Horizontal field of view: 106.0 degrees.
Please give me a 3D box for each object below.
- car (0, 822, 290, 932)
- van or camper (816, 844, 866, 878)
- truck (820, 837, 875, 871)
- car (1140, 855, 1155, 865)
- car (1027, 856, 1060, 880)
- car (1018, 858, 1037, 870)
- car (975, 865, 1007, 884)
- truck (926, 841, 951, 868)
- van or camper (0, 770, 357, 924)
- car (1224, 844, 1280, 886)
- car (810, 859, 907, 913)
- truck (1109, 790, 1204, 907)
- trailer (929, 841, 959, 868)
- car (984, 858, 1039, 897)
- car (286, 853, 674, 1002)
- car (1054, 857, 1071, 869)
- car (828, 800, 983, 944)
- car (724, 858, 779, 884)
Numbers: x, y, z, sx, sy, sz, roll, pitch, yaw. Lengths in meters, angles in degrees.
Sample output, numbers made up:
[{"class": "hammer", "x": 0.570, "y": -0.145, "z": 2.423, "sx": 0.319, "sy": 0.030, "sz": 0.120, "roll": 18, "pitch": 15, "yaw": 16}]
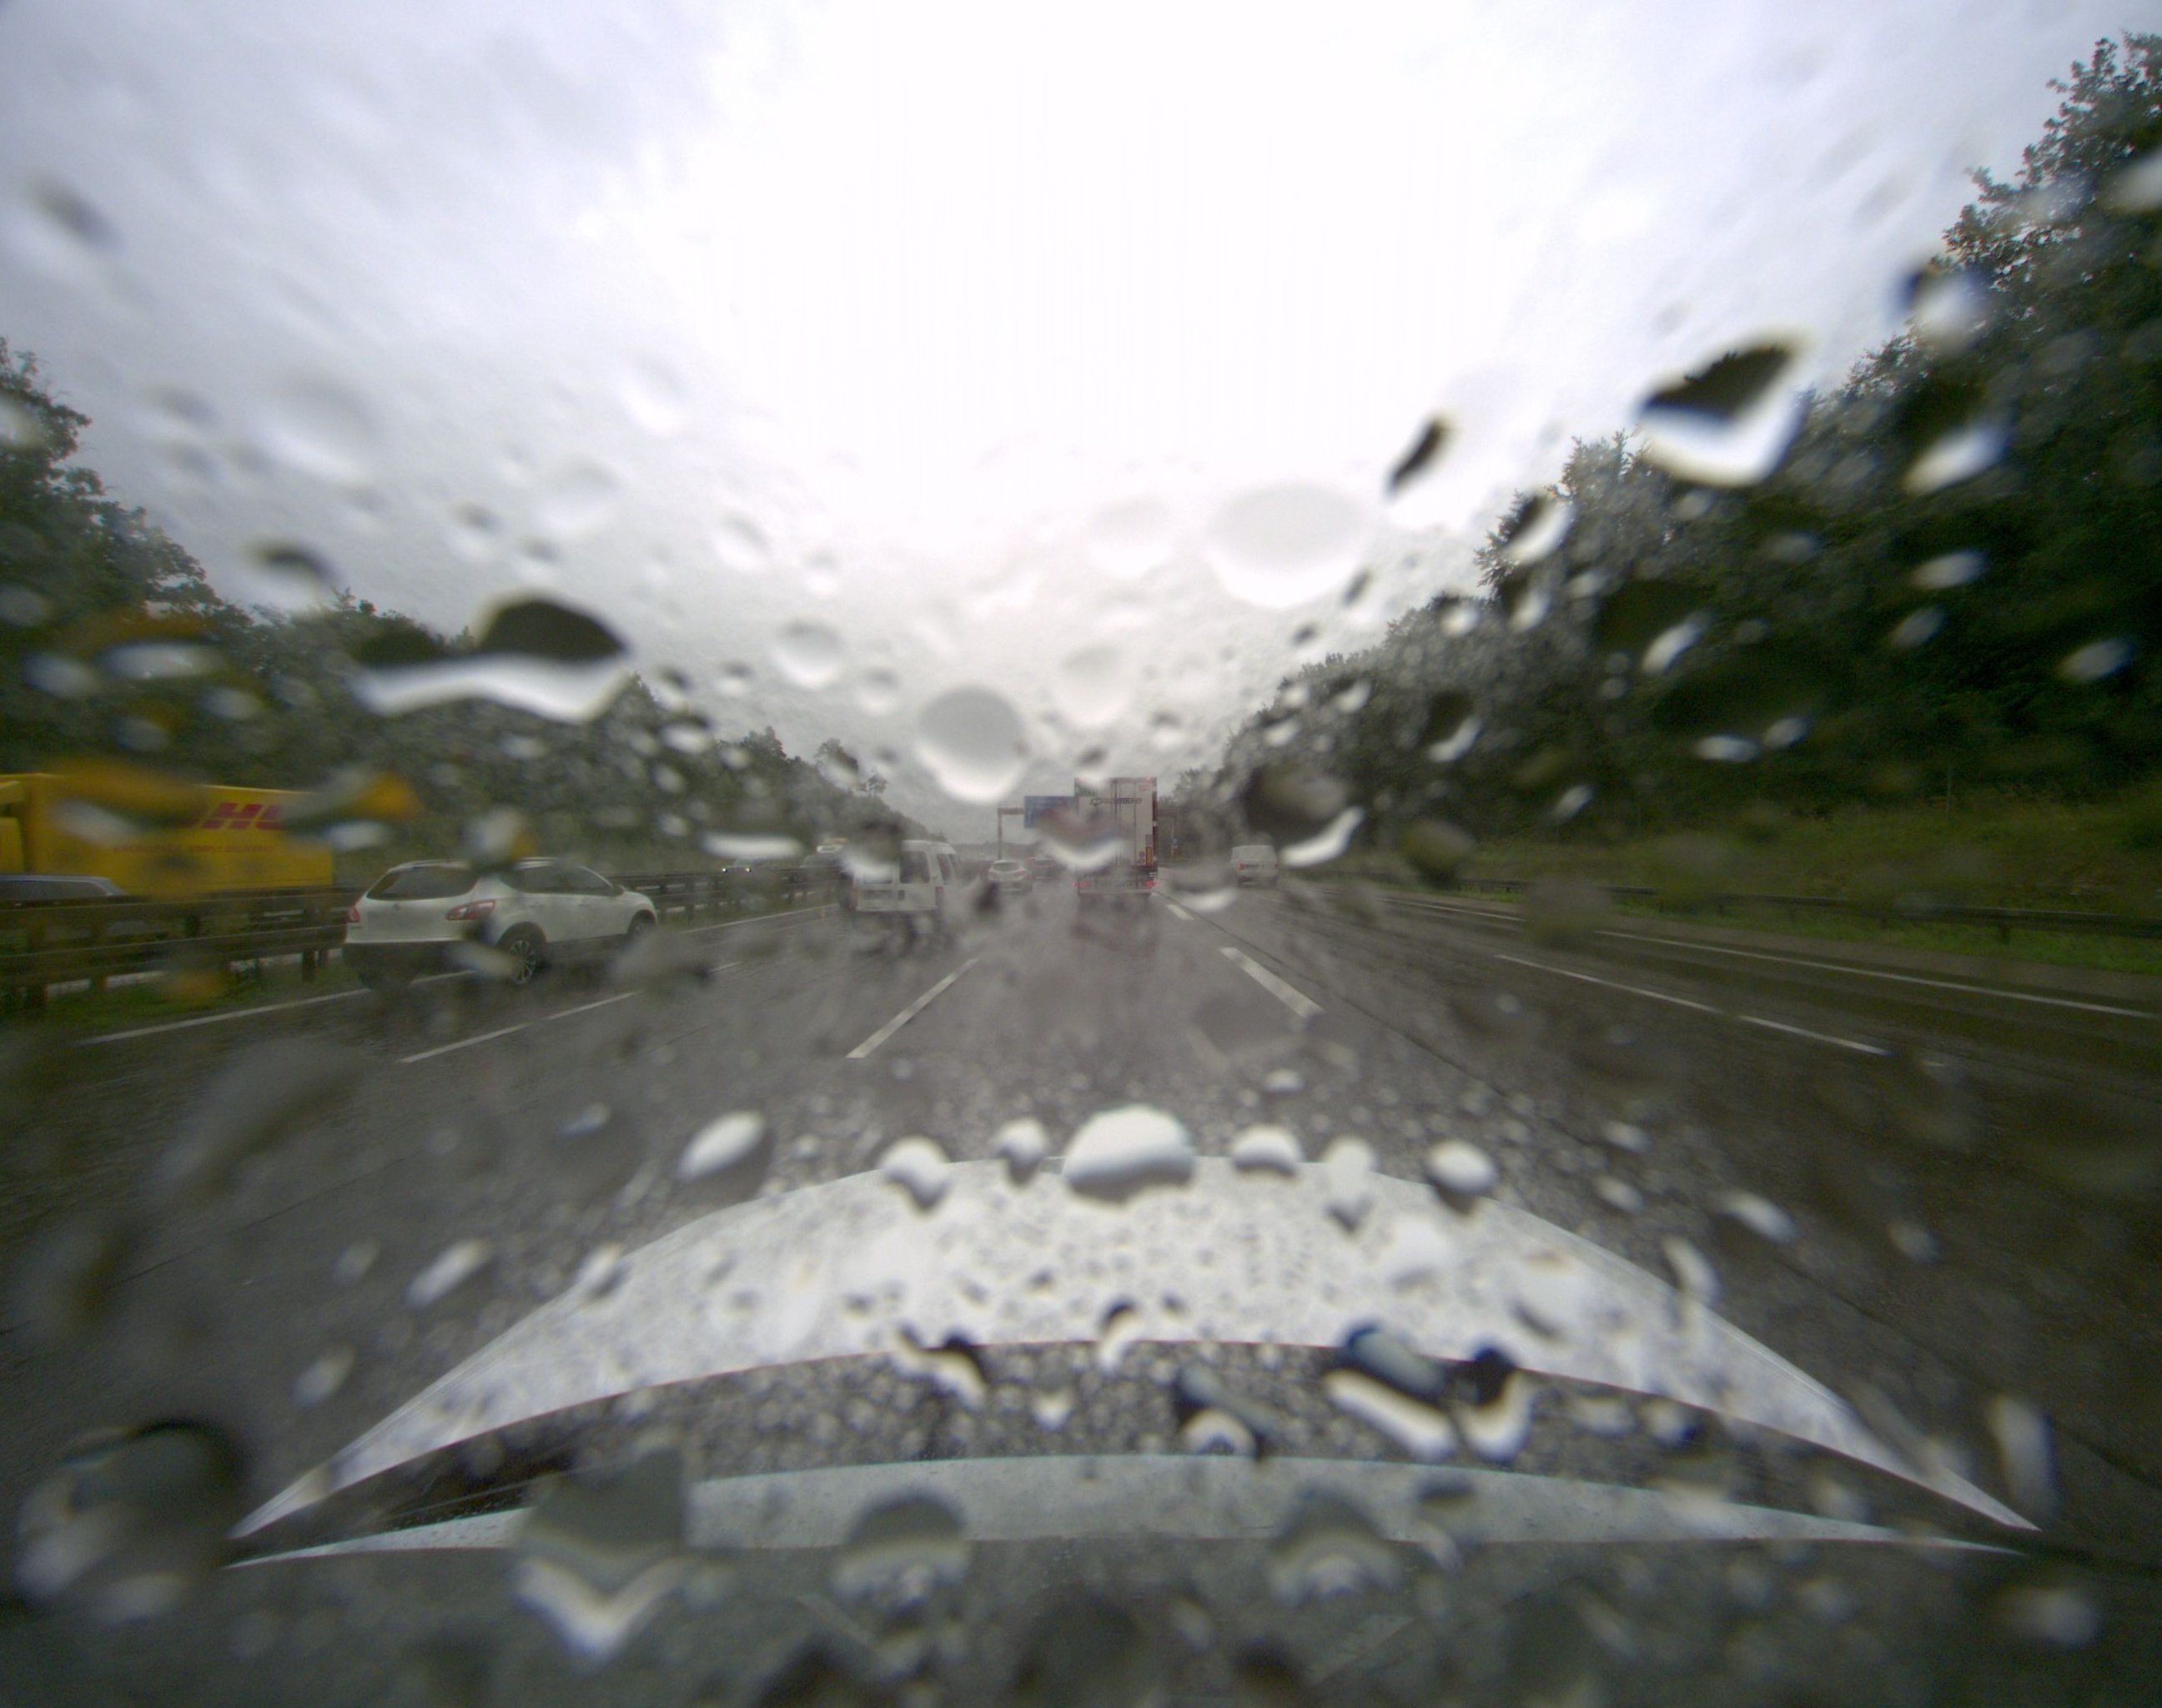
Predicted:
[{"class": "car", "x": -16.109, "y": 0.337, "z": 13.673, "sx": 1.691, "sy": 1.579, "sz": 4.001, "roll": -1, "pitch": 0, "yaw": 1}, {"class": "van or camper", "x": -21.510, "y": 0.640, "z": 73.399, "sx": 2.159, "sy": 2.870, "sz": 8.000, "roll": -1, "pitch": 0, "yaw": 0}, {"class": "truck", "x": -25.484, "y": -0.029, "z": 89.725, "sx": 2.510, "sy": 3.483, "sz": 11.720, "roll": -1, "pitch": 0, "yaw": 1}, {"class": "car", "x": 8.862, "y": 0.787, "z": 108.674, "sx": 1.784, "sy": 1.407, "sz": 4.228, "roll": -1, "pitch": 0, "yaw": 1}, {"class": "car", "x": -2.592, "y": 0.970, "z": 57.478, "sx": 1.837, "sy": 1.591, "sz": 4.471, "roll": -1, "pitch": 0, "yaw": 4}, {"class": "car", "x": -6.272, "y": 1.141, "z": 96.066, "sx": 1.839, "sy": 1.330, "sz": 4.467, "roll": -1, "pitch": 0, "yaw": 1}, {"class": "car", "x": -6.888, "y": 1.535, "z": 62.621, "sx": 1.839, "sy": 1.330, "sz": 4.467, "roll": -1, "pitch": 0, "yaw": 1}, {"class": "truck", "x": -21.550, "y": 0.119, "z": 123.508, "sx": 2.532, "sy": 4.025, "sz": 6.323, "roll": 0, "pitch": 0, "yaw": 0}, {"class": "van or camper", "x": -22.219, "y": -0.113, "z": 18.873, "sx": 2.832, "sy": 2.978, "sz": 8.789, "roll": -1, "pitch": 0, "yaw": 1}, {"class": "car", "x": 8.286, "y": 0.488, "z": 39.842, "sx": 1.981, "sy": 1.921, "sz": 4.772, "roll": -1, "pitch": 0, "yaw": 4}, {"class": "car", "x": -7.316, "y": 0.993, "z": 27.254, "sx": 1.838, "sy": 1.591, "sz": 4.469, "roll": -1, "pitch": 0, "yaw": 2}, {"class": "truck", "x": 2.678, "y": -0.133, "z": 30.530, "sx": 2.860, "sy": 3.562, "sz": 11.313, "roll": -1, "pitch": 0, "yaw": 4}, {"class": "trailer", "x": -21.643, "y": 0.045, "z": 129.510, "sx": 2.532, "sy": 4.025, "sz": 13.846, "roll": 0, "pitch": 0, "yaw": 0}, {"class": "car", "x": -3.091, "y": 1.031, "z": 37.017, "sx": 1.837, "sy": 1.591, "sz": 4.077, "roll": -1, "pitch": 0, "yaw": 5}, {"class": "car", "x": -7.623, "y": 0.793, "z": 11.045, "sx": 1.839, "sy": 1.591, "sz": 4.468, "roll": -1, "pitch": 0, "yaw": 2}, {"class": "car", "x": -2.261, "y": 1.103, "z": 98.409, "sx": 1.839, "sy": 1.330, "sz": 4.467, "roll": -1, "pitch": 0, "yaw": 1}, {"class": "car", "x": -3.460, "y": 0.312, "z": 17.184, "sx": 2.206, "sy": 2.573, "sz": 5.014, "roll": -1, "pitch": 0, "yaw": -1}, {"class": "car", "x": -21.193, "y": 1.048, "z": 52.527, "sx": 1.839, "sy": 1.579, "sz": 4.001, "roll": -1, "pitch": 0, "yaw": 1}]
